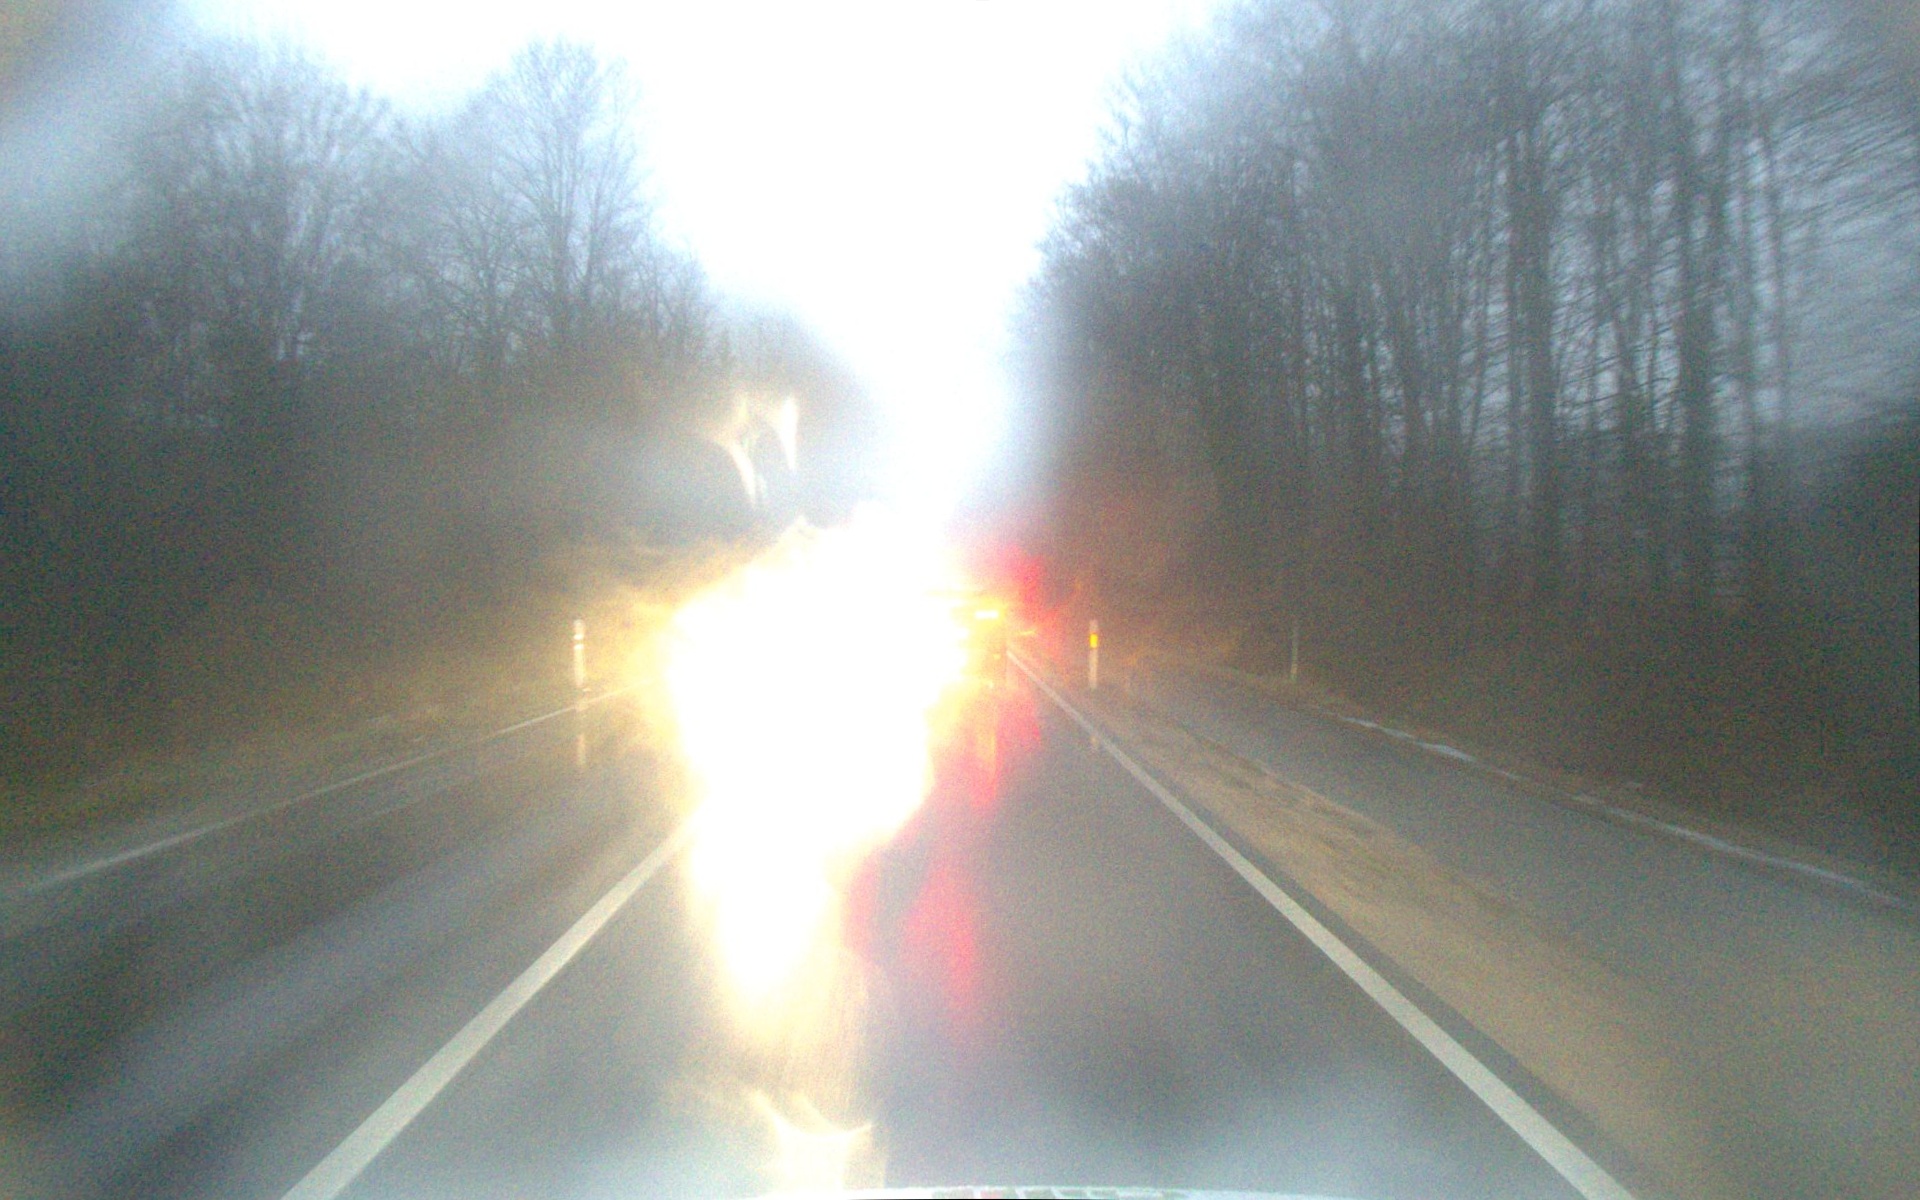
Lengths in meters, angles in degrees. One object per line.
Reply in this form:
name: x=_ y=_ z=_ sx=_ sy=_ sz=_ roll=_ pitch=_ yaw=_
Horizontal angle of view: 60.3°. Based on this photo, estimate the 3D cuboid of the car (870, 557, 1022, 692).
car: x=-0.257 y=0.340 z=26.201 sx=2.153 sy=1.910 sz=4.826 roll=1 pitch=0 yaw=-1

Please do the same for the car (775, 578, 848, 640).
car: x=-3.904 y=0.222 z=43.938 sx=1.566 sy=1.522 sz=3.894 roll=-2 pitch=0 yaw=0
